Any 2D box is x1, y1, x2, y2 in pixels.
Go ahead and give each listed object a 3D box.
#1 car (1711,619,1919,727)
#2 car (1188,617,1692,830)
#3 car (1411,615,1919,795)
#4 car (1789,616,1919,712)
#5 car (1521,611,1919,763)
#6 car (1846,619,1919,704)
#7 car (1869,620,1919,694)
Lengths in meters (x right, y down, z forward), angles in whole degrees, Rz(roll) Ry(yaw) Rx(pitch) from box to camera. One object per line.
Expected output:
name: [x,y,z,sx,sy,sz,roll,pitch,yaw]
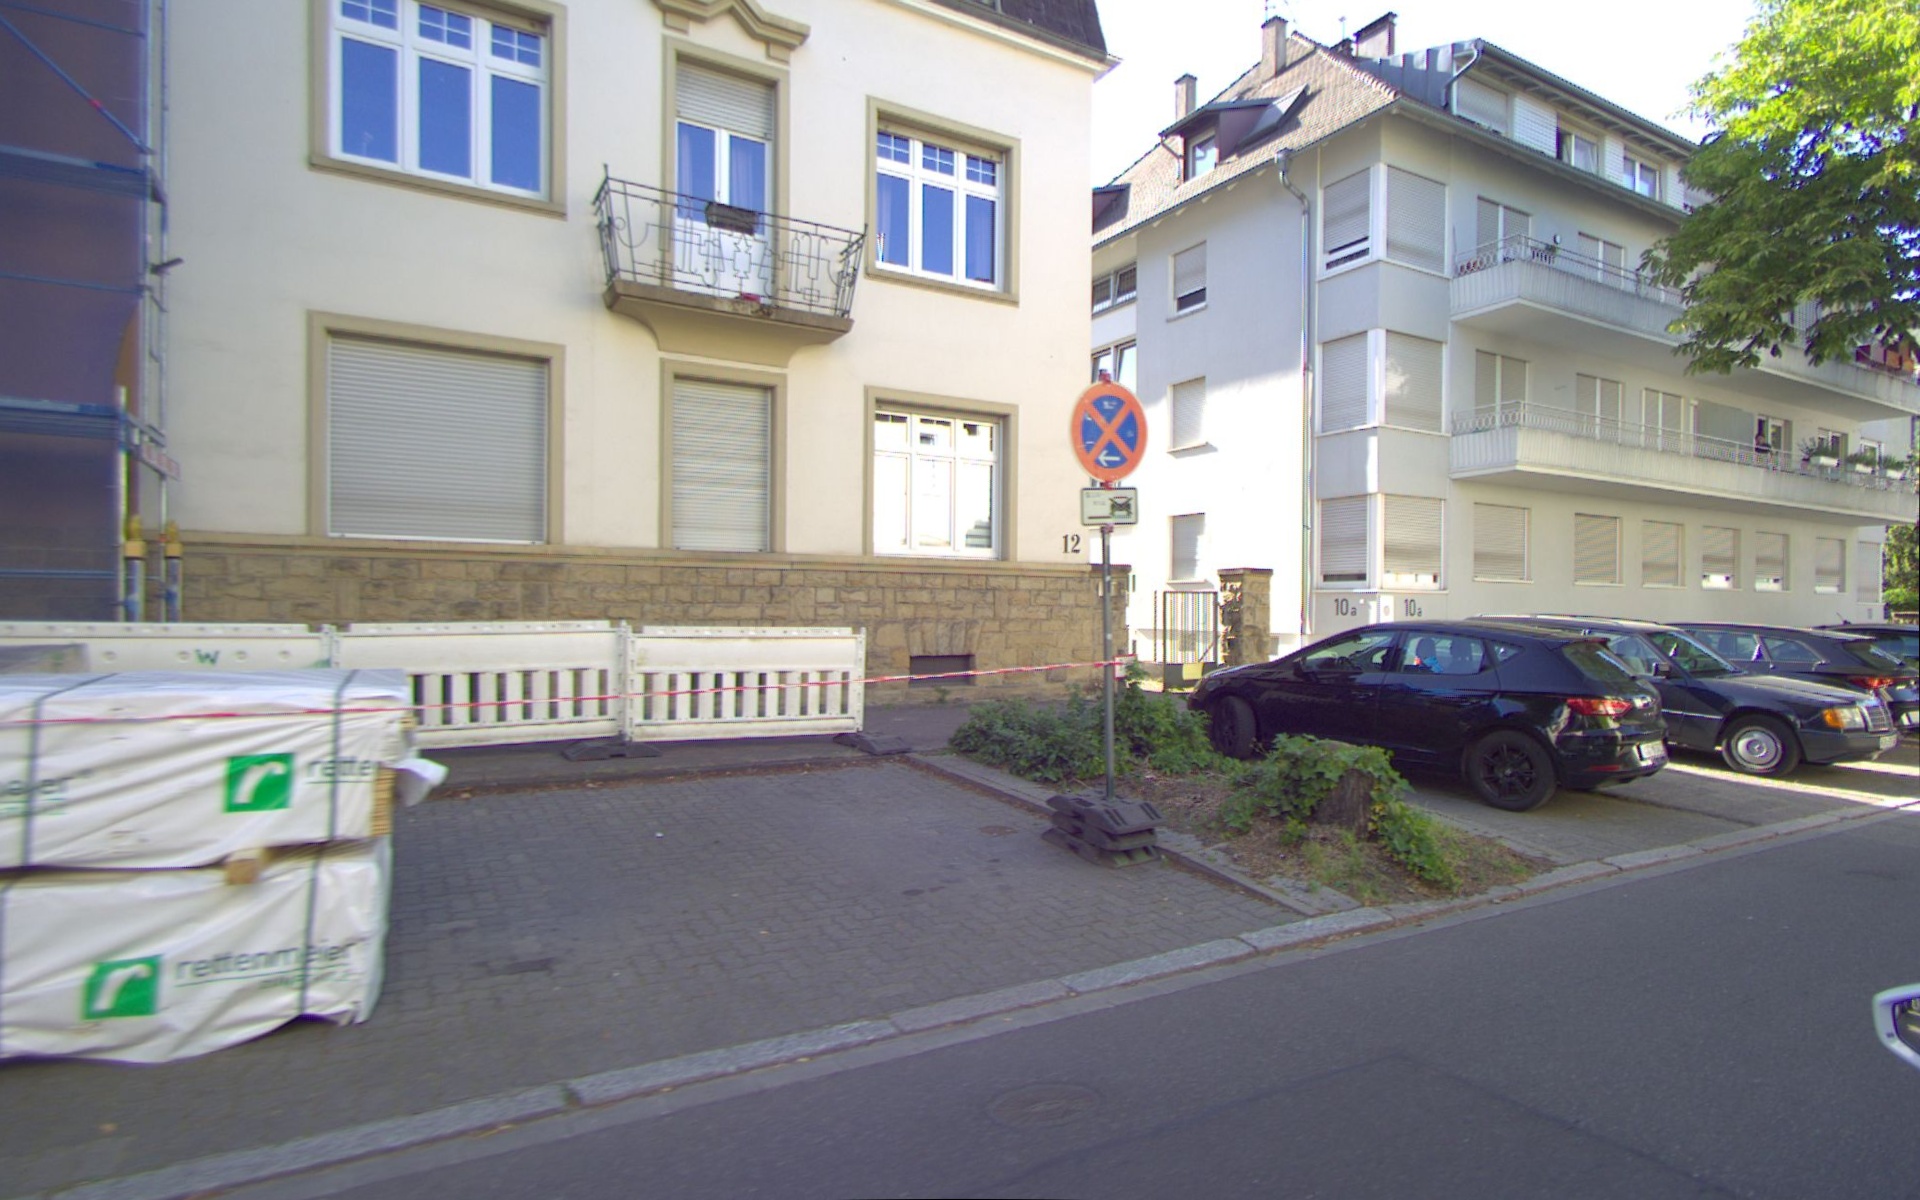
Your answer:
car: [14.082,1.105,15.625,1.693,1.439,3.455,2,1,-35]
car: [4.217,0.939,9.322,1.817,1.534,3.840,1,-2,-38]
car: [7.878,1.012,11.723,1.813,1.628,4.563,1,-1,-32]
car: [16.268,1.095,16.547,1.689,1.482,3.629,2,1,-28]
car: [9.828,0.972,13.014,1.693,1.460,4.166,1,1,-31]
car: [18.358,1.165,17.887,1.776,1.477,3.463,2,1,-29]
car: [20.349,1.187,19.333,1.696,1.434,3.900,0,2,-32]
